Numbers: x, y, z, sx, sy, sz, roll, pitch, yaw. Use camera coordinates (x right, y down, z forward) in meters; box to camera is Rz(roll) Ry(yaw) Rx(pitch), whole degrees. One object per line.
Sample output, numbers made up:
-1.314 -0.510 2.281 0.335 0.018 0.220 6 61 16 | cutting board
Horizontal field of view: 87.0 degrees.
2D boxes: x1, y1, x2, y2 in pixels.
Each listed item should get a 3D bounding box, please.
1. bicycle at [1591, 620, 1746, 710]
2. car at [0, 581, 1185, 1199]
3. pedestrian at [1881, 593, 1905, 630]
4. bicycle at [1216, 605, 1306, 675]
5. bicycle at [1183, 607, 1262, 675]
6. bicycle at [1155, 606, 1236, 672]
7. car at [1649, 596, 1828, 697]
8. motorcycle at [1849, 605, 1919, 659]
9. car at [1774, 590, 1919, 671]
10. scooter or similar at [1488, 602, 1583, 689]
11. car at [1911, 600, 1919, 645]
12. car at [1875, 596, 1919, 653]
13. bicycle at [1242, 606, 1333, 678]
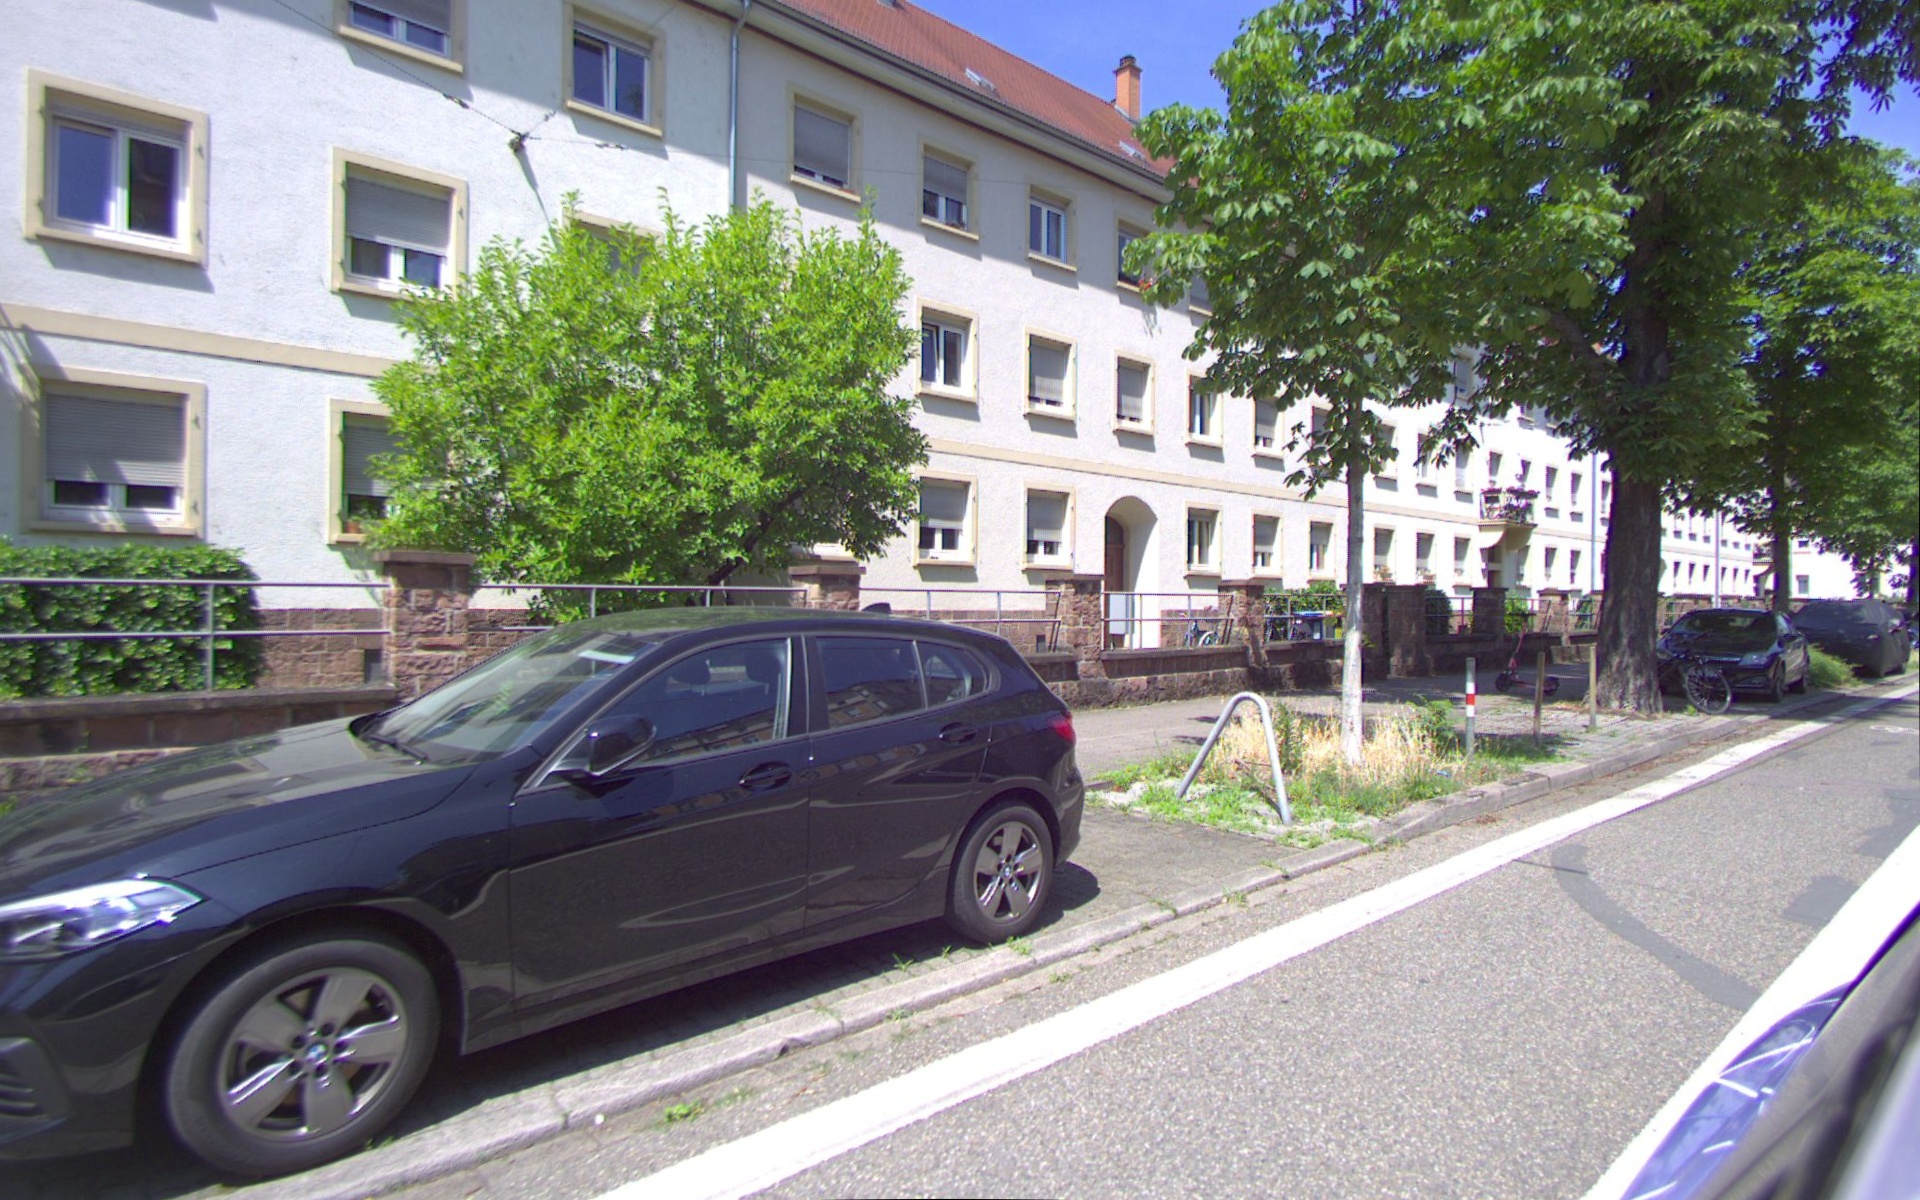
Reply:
9.595 0.853 13.744 1.652 1.092 0.597 1 0 43 | bicycle
-1.167 0.685 4.286 4.780 1.445 1.771 0 0 -43 | car
44.365 0.527 48.119 0.743 1.690 0.699 1 3 -41 | pedestrian
4.962 0.629 16.621 1.891 1.092 0.479 0 0 -41 | bicycle
4.523 0.670 17.357 0.478 1.092 1.894 0 0 43 | bicycle
4.148 0.657 17.732 0.478 1.092 1.894 0 0 43 | bicycle
12.950 0.680 16.741 4.283 1.437 1.696 1 0 -43 | car
25.619 0.861 27.699 1.911 1.451 0.662 0 0 41 | motorcycle
20.512 0.638 23.094 4.790 1.671 1.952 1 0 -38 | car
8.317 0.644 14.634 1.222 1.228 0.381 0 0 -10 | scooter or similar
34.842 0.778 35.733 3.933 1.534 1.658 0 0 -44 | car
28.536 0.705 29.978 4.378 1.571 1.735 1 0 -43 | car
5.278 0.643 16.252 1.891 1.092 0.479 0 0 -41 | bicycle
